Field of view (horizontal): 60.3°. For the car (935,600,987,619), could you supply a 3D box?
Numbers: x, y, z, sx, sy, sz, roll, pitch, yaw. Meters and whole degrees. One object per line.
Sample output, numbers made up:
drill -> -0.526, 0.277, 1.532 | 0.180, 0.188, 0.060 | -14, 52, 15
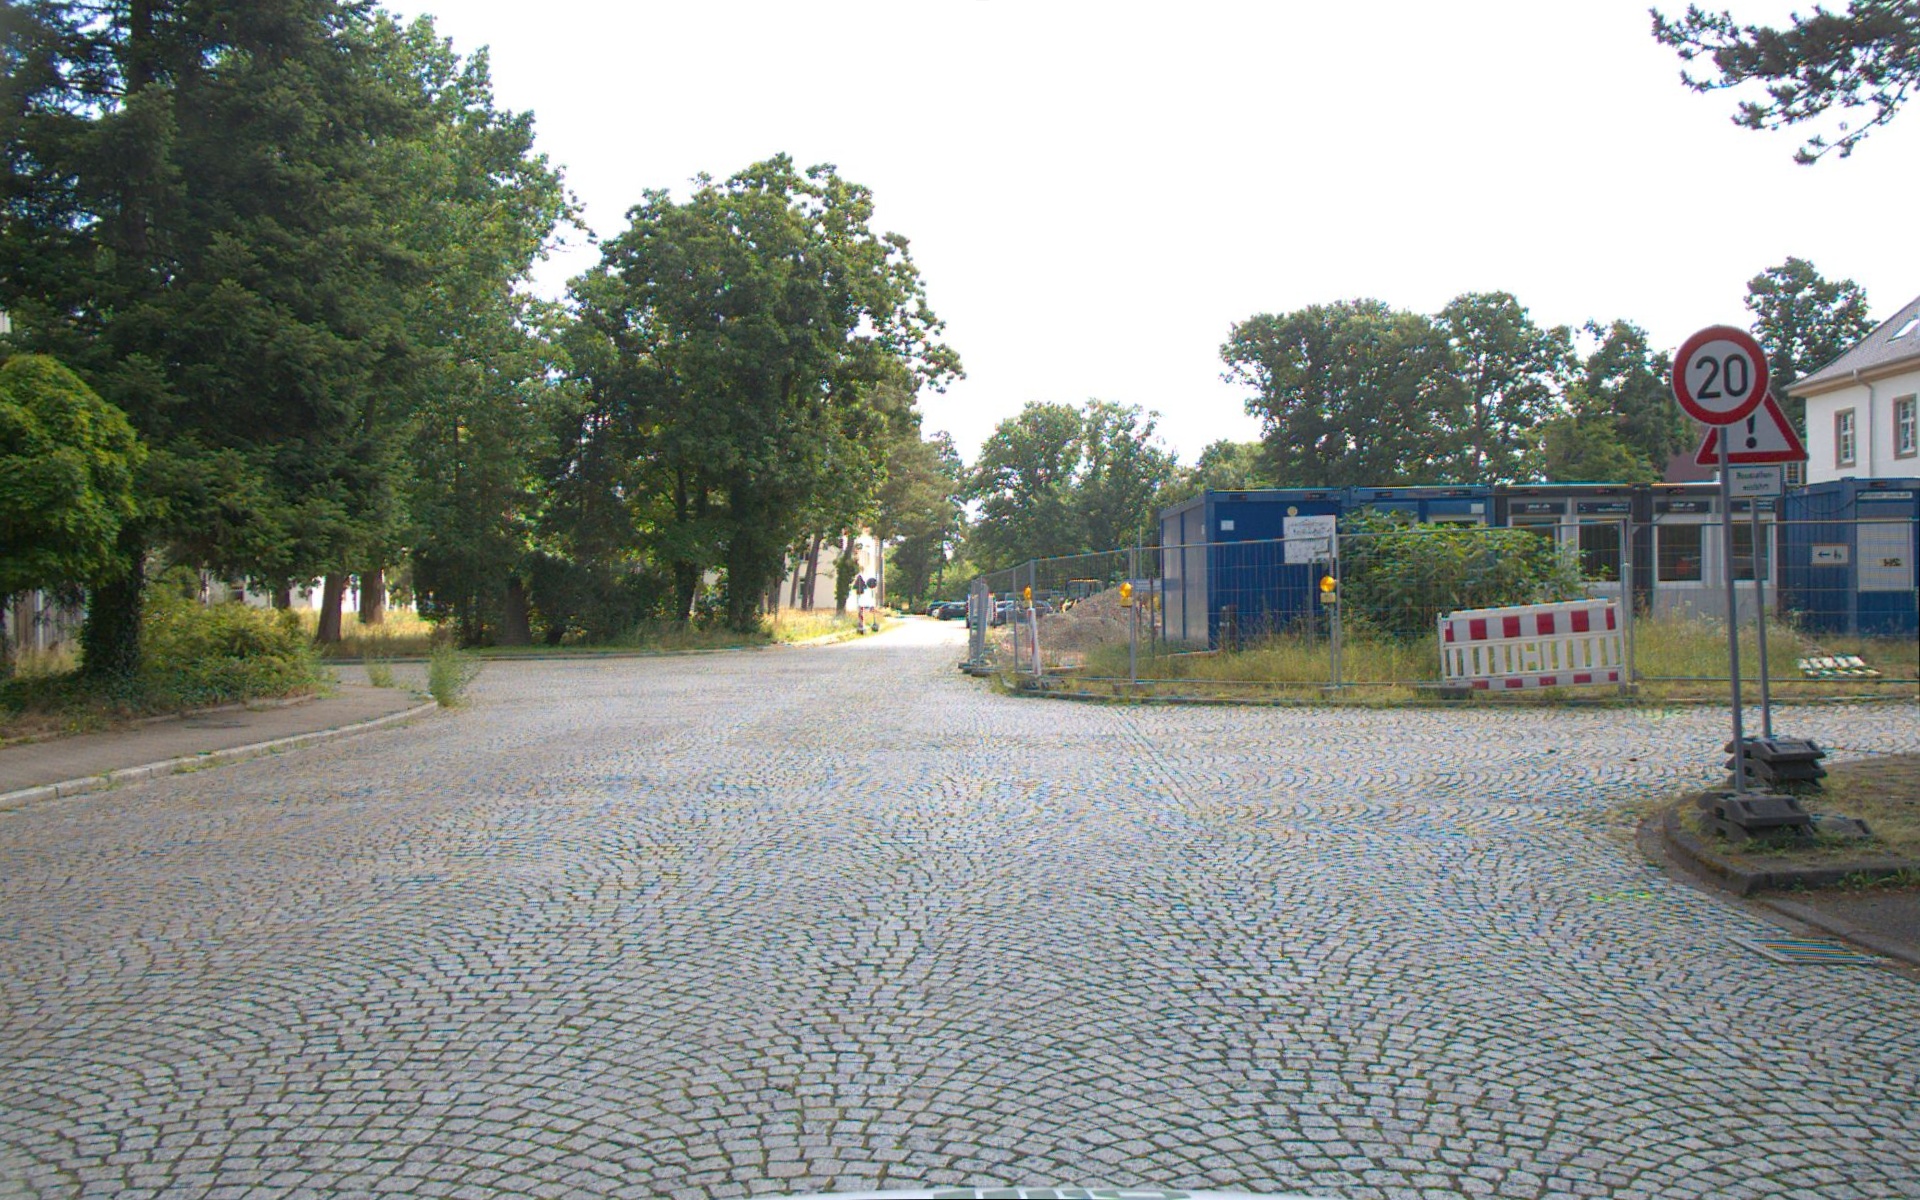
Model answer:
car -> 0.080, 0.904, 152.459 | 4.687, 1.669, 1.998 | -1, 0, -5

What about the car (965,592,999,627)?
car -> 1.304, 0.566, 100.605 | 1.953, 2.049, 4.090 | -1, 0, -1

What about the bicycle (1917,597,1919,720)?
bicycle -> 8.156, 0.568, 12.125 | 1.859, 1.218, 0.656 | -2, 0, 20

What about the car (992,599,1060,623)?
car -> 4.426, 0.738, 110.727 | 4.308, 1.537, 2.002 | 0, 0, 8

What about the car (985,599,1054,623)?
car -> 3.929, 0.724, 107.977 | 4.308, 1.537, 2.002 | 0, 0, 8

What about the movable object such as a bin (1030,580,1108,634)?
movable object such as a bin -> 5.567, 0.356, 83.575 | 2.088, 2.638, 4.783 | -1, 0, 29
